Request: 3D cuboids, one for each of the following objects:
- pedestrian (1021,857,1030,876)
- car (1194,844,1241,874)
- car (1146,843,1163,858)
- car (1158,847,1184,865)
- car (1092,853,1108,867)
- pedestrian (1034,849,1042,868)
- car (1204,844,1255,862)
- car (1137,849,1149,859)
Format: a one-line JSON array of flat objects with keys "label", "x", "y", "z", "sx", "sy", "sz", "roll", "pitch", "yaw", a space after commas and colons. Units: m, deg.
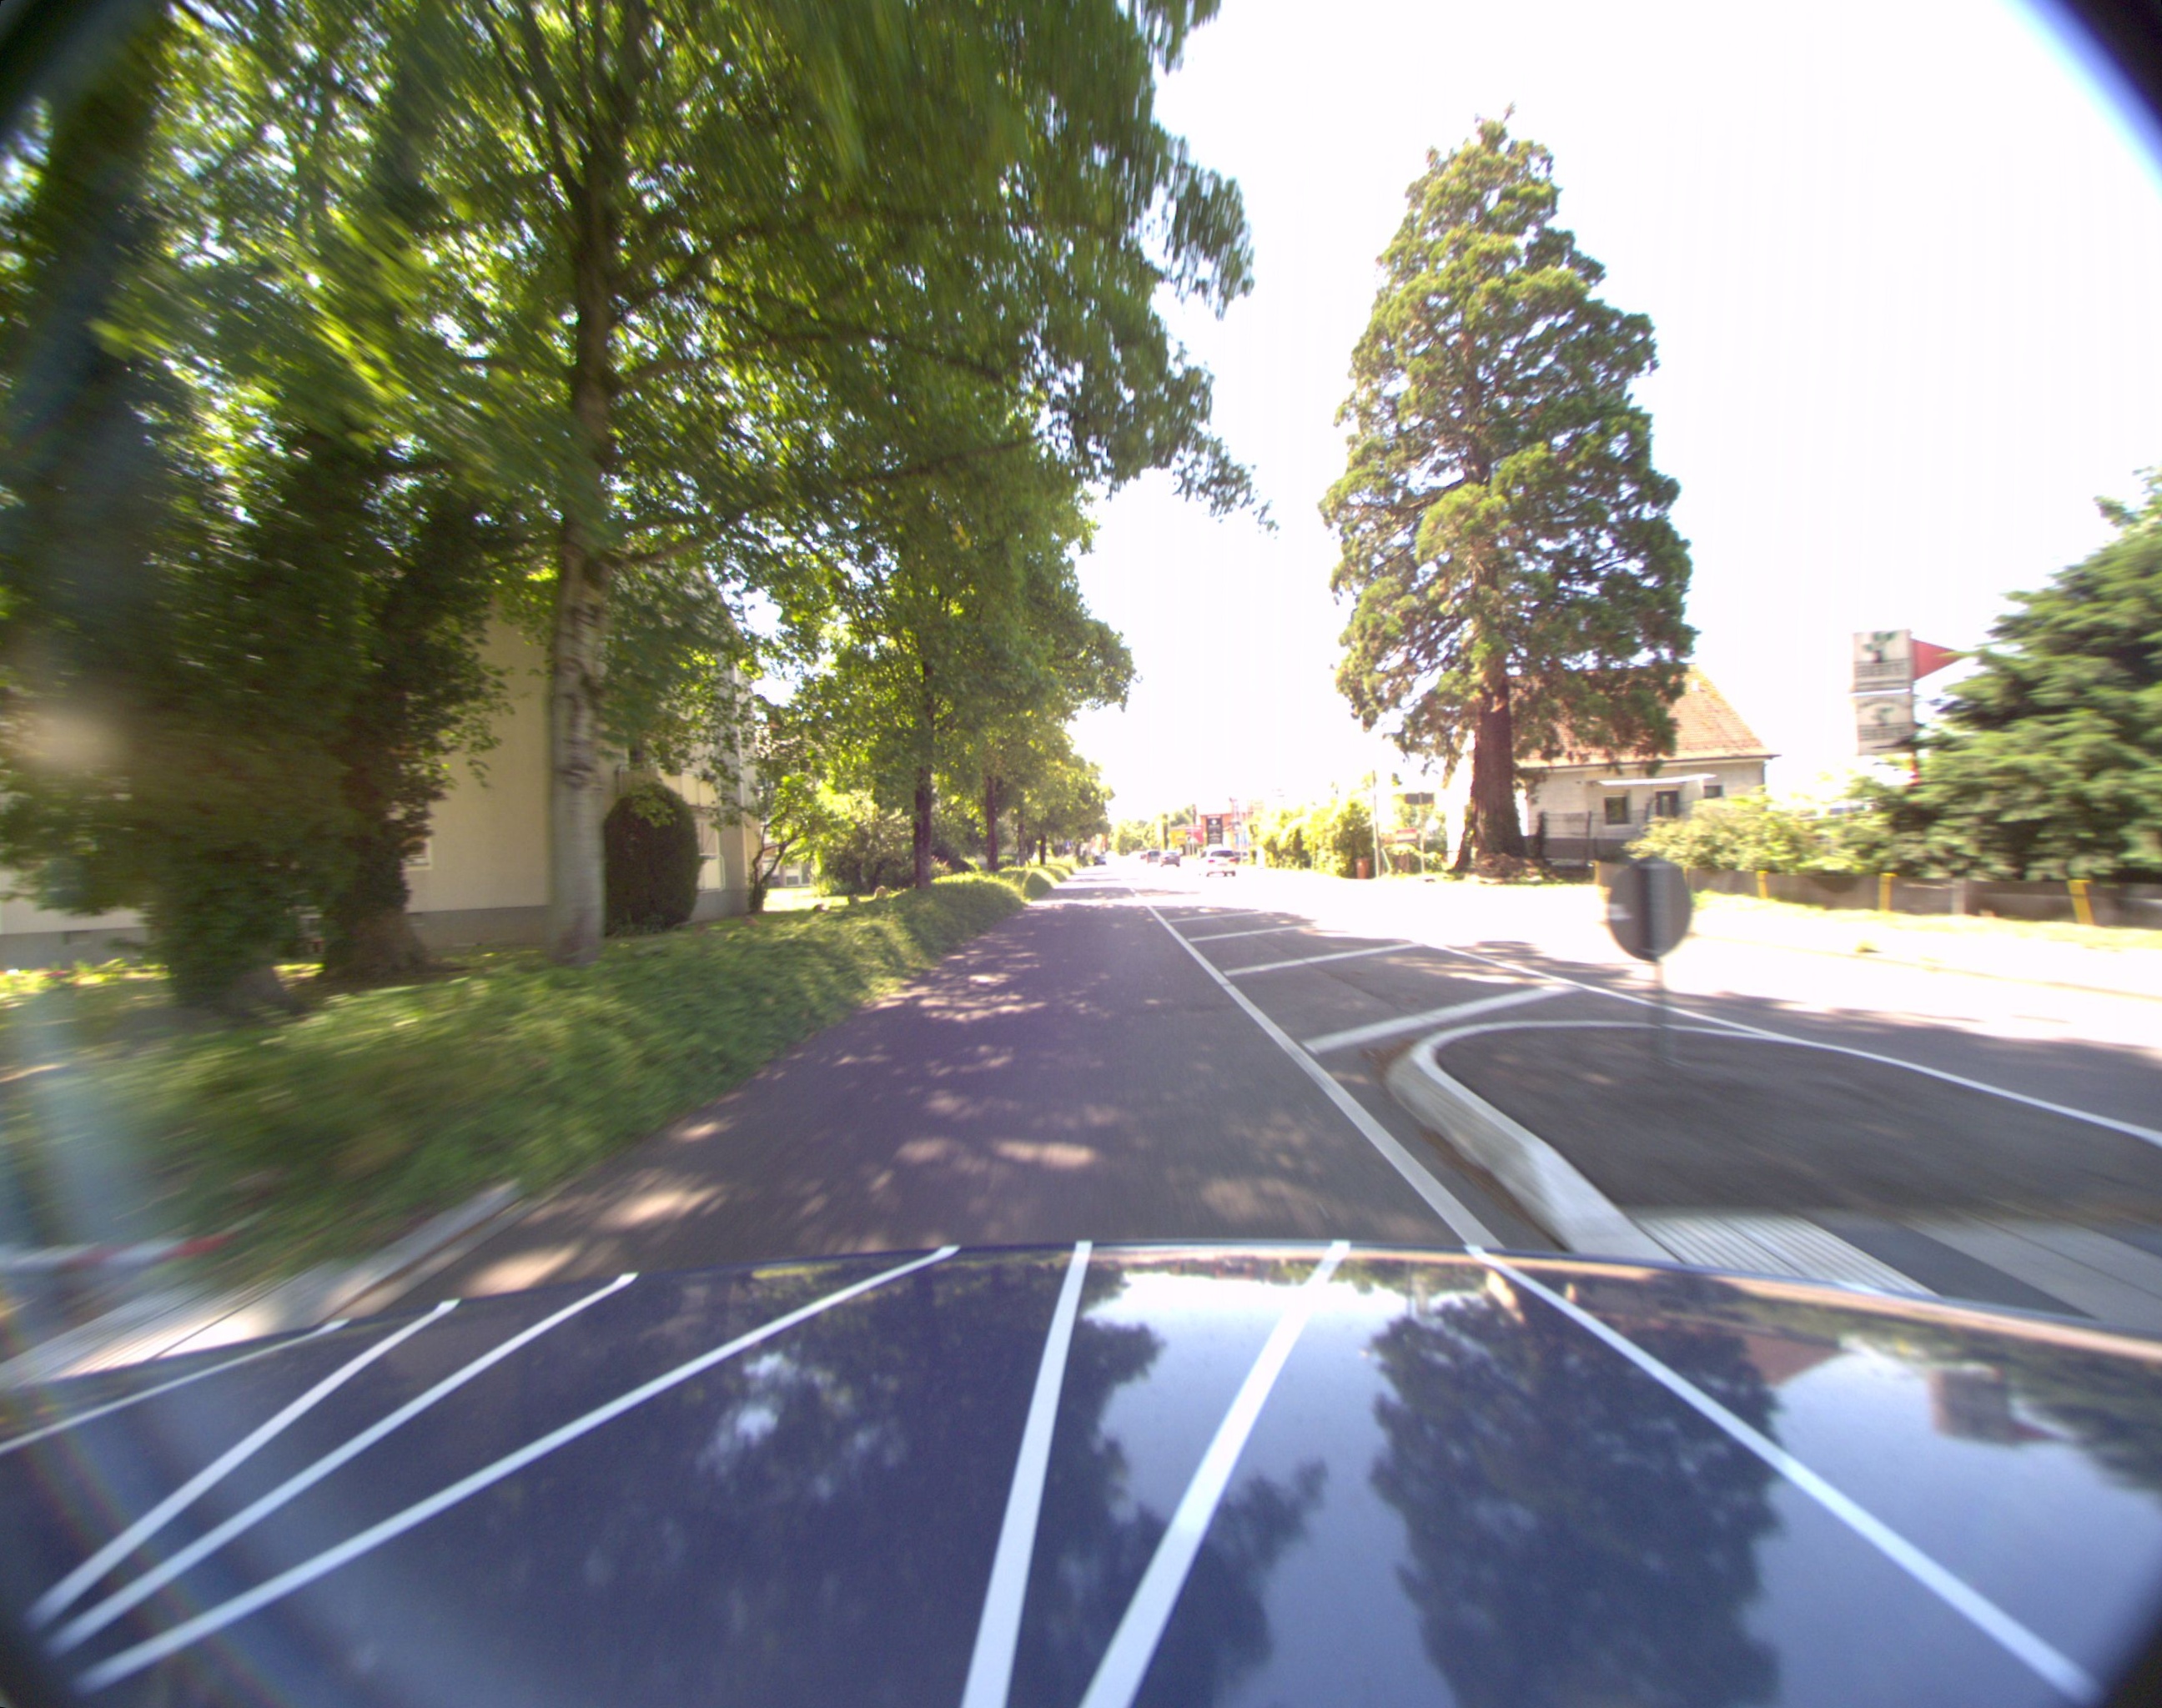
[{"label": "pedestrian", "x": -5.626, "y": 1.266, "z": 76.884, "sx": 0.677, "sy": 1.914, "sz": 0.621, "roll": -3, "pitch": 1, "yaw": 1}, {"label": "car", "x": 7.773, "y": 0.257, "z": 43.714, "sx": 1.787, "sy": 1.635, "sz": 4.688, "roll": -1, "pitch": 0, "yaw": 0}, {"label": "car", "x": 8.919, "y": -0.423, "z": 92.511, "sx": 1.883, "sy": 1.731, "sz": 4.321, "roll": -2, "pitch": 1, "yaw": 3}, {"label": "car", "x": 8.241, "y": 0.126, "z": 69.913, "sx": 1.884, "sy": 1.540, "sz": 4.320, "roll": -2, "pitch": 1, "yaw": 0}, {"label": "car", "x": 2.427, "y": 0.704, "z": 96.520, "sx": 1.883, "sy": 1.623, "sz": 4.321, "roll": -2, "pitch": 1, "yaw": 3}, {"label": "pedestrian", "x": -4.657, "y": 0.484, "z": 82.131, "sx": 0.677, "sy": 1.914, "sz": 0.621, "roll": -3, "pitch": 1, "yaw": 1}, {"label": "car", "x": 13.885, "y": -0.108, "z": 71.017, "sx": 4.311, "sy": 1.540, "sz": 1.888, "roll": -2, "pitch": 1, "yaw": 20}, {"label": "car", "x": 10.817, "y": 0.035, "z": 132.905, "sx": 1.883, "sy": 1.623, "sz": 4.321, "roll": -2, "pitch": 1, "yaw": 3}]
